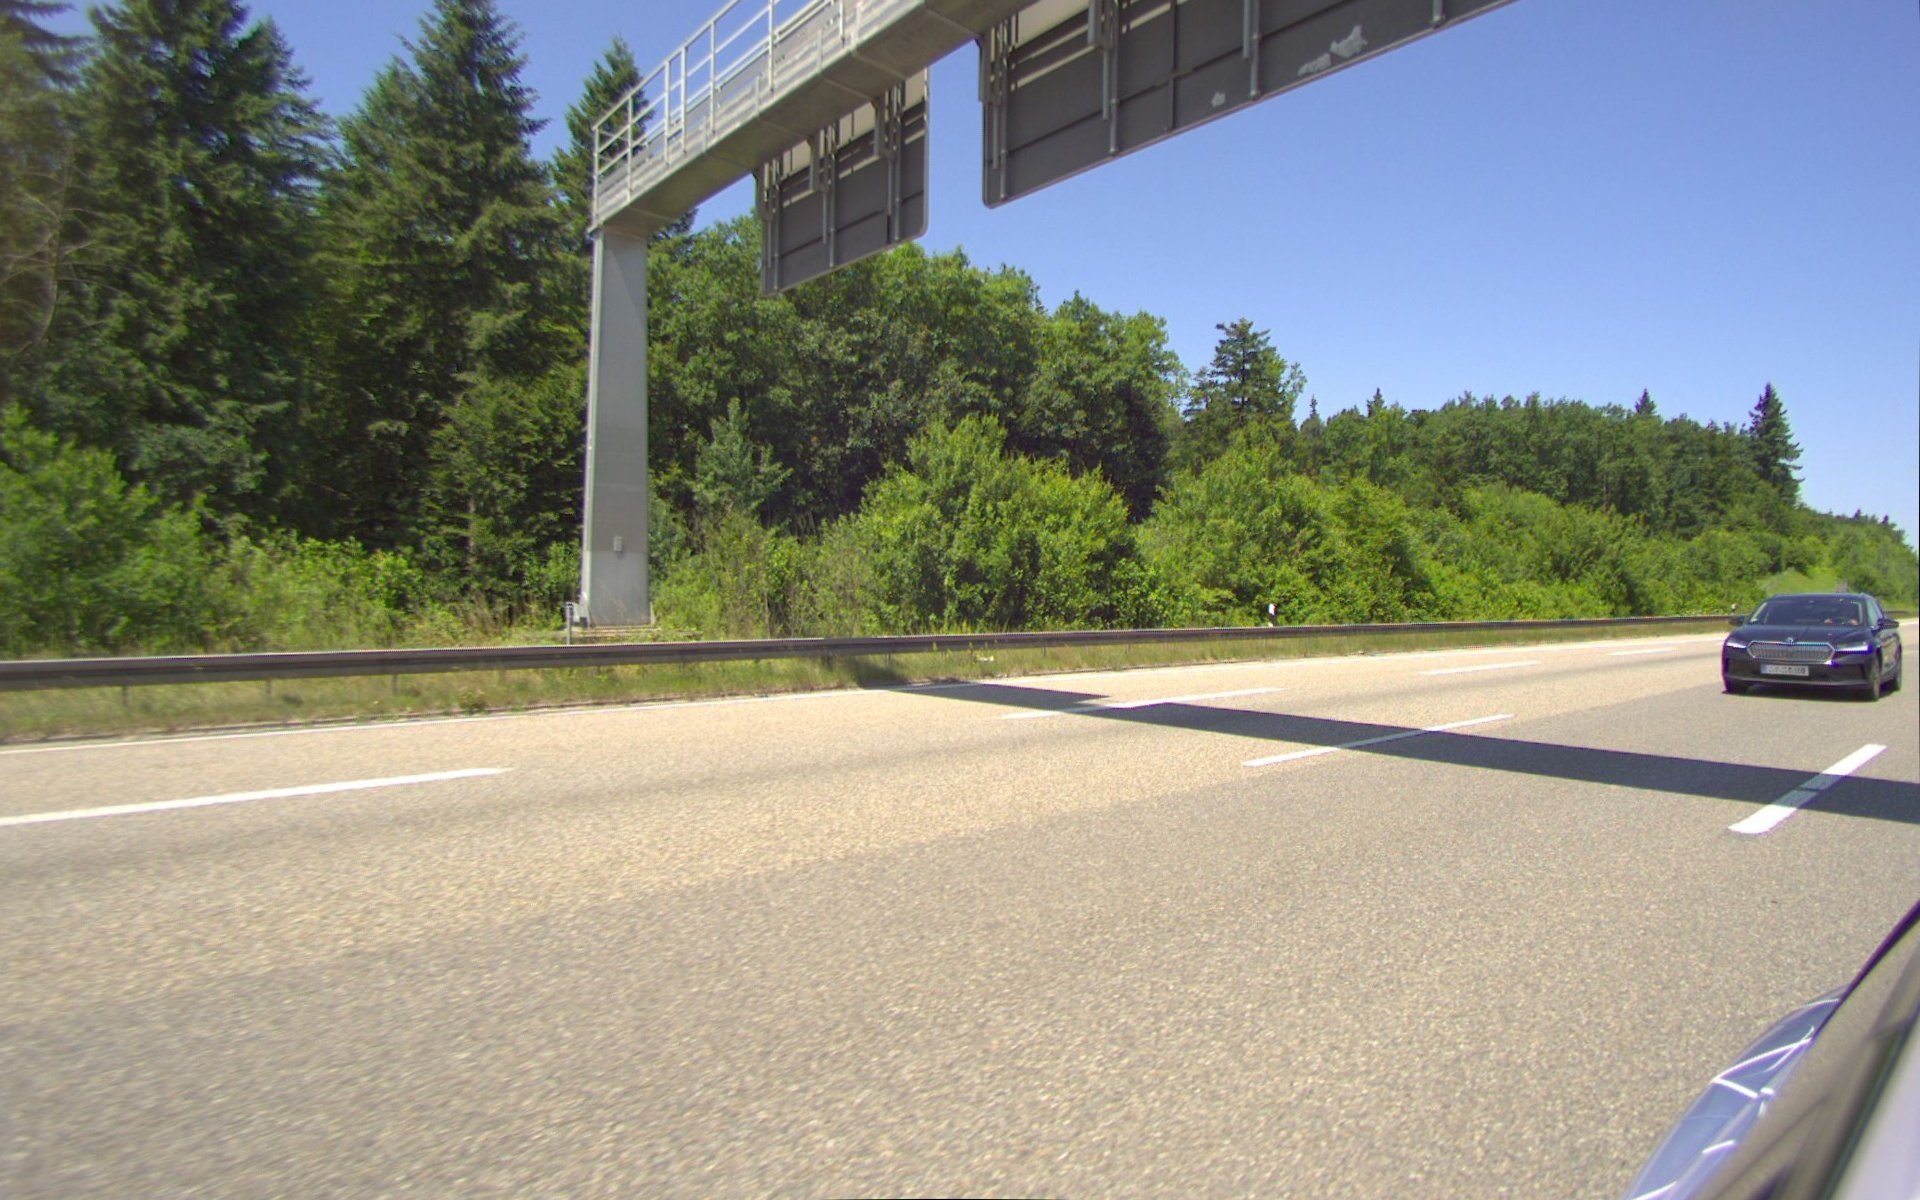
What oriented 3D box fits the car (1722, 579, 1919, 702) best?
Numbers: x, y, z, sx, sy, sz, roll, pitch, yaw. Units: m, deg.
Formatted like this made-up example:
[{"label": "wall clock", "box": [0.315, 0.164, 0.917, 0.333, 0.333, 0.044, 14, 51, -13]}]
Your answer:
[{"label": "car", "box": [14.227, 0.522, 16.474, 4.379, 1.639, 1.989, -3, 3, -40]}]
